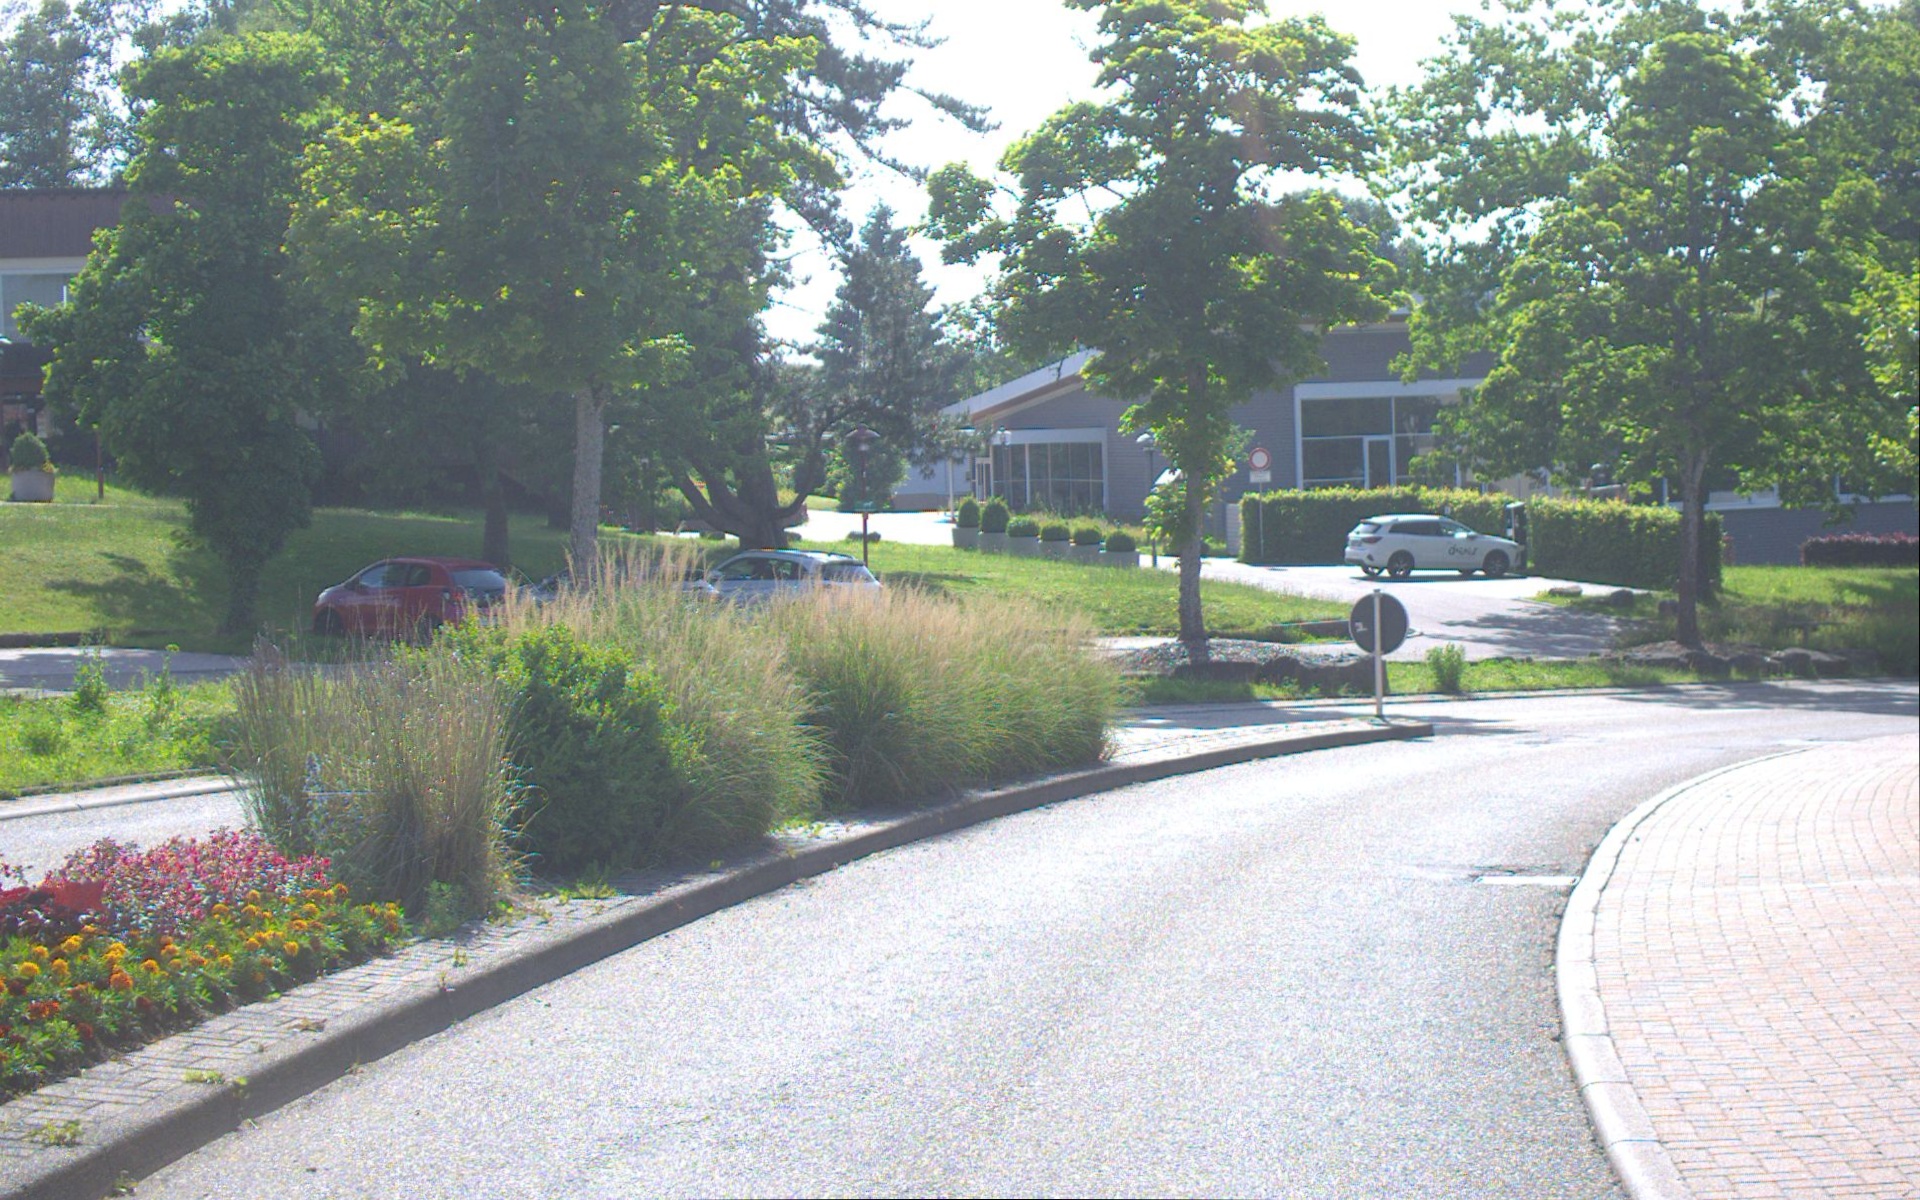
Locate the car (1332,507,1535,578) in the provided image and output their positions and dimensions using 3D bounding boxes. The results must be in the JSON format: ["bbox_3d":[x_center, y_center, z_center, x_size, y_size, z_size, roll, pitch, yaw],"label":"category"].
[{"bbox_3d":[12.101,-1.484,87.923,4.713,1.528,2.001,-2,6,-17],"label":"car"}]

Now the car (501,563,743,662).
[{"bbox_3d":[-5.479,0.187,55.529,3.710,1.428,1.772,3,1,40],"label":"car"}]

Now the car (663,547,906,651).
[{"bbox_3d":[-3.014,-0.032,58.713,3.938,1.604,1.772,3,1,40],"label":"car"}]

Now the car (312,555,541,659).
[{"bbox_3d":[-8.281,0.096,53.272,3.205,1.465,1.772,3,1,38],"label":"car"}]
